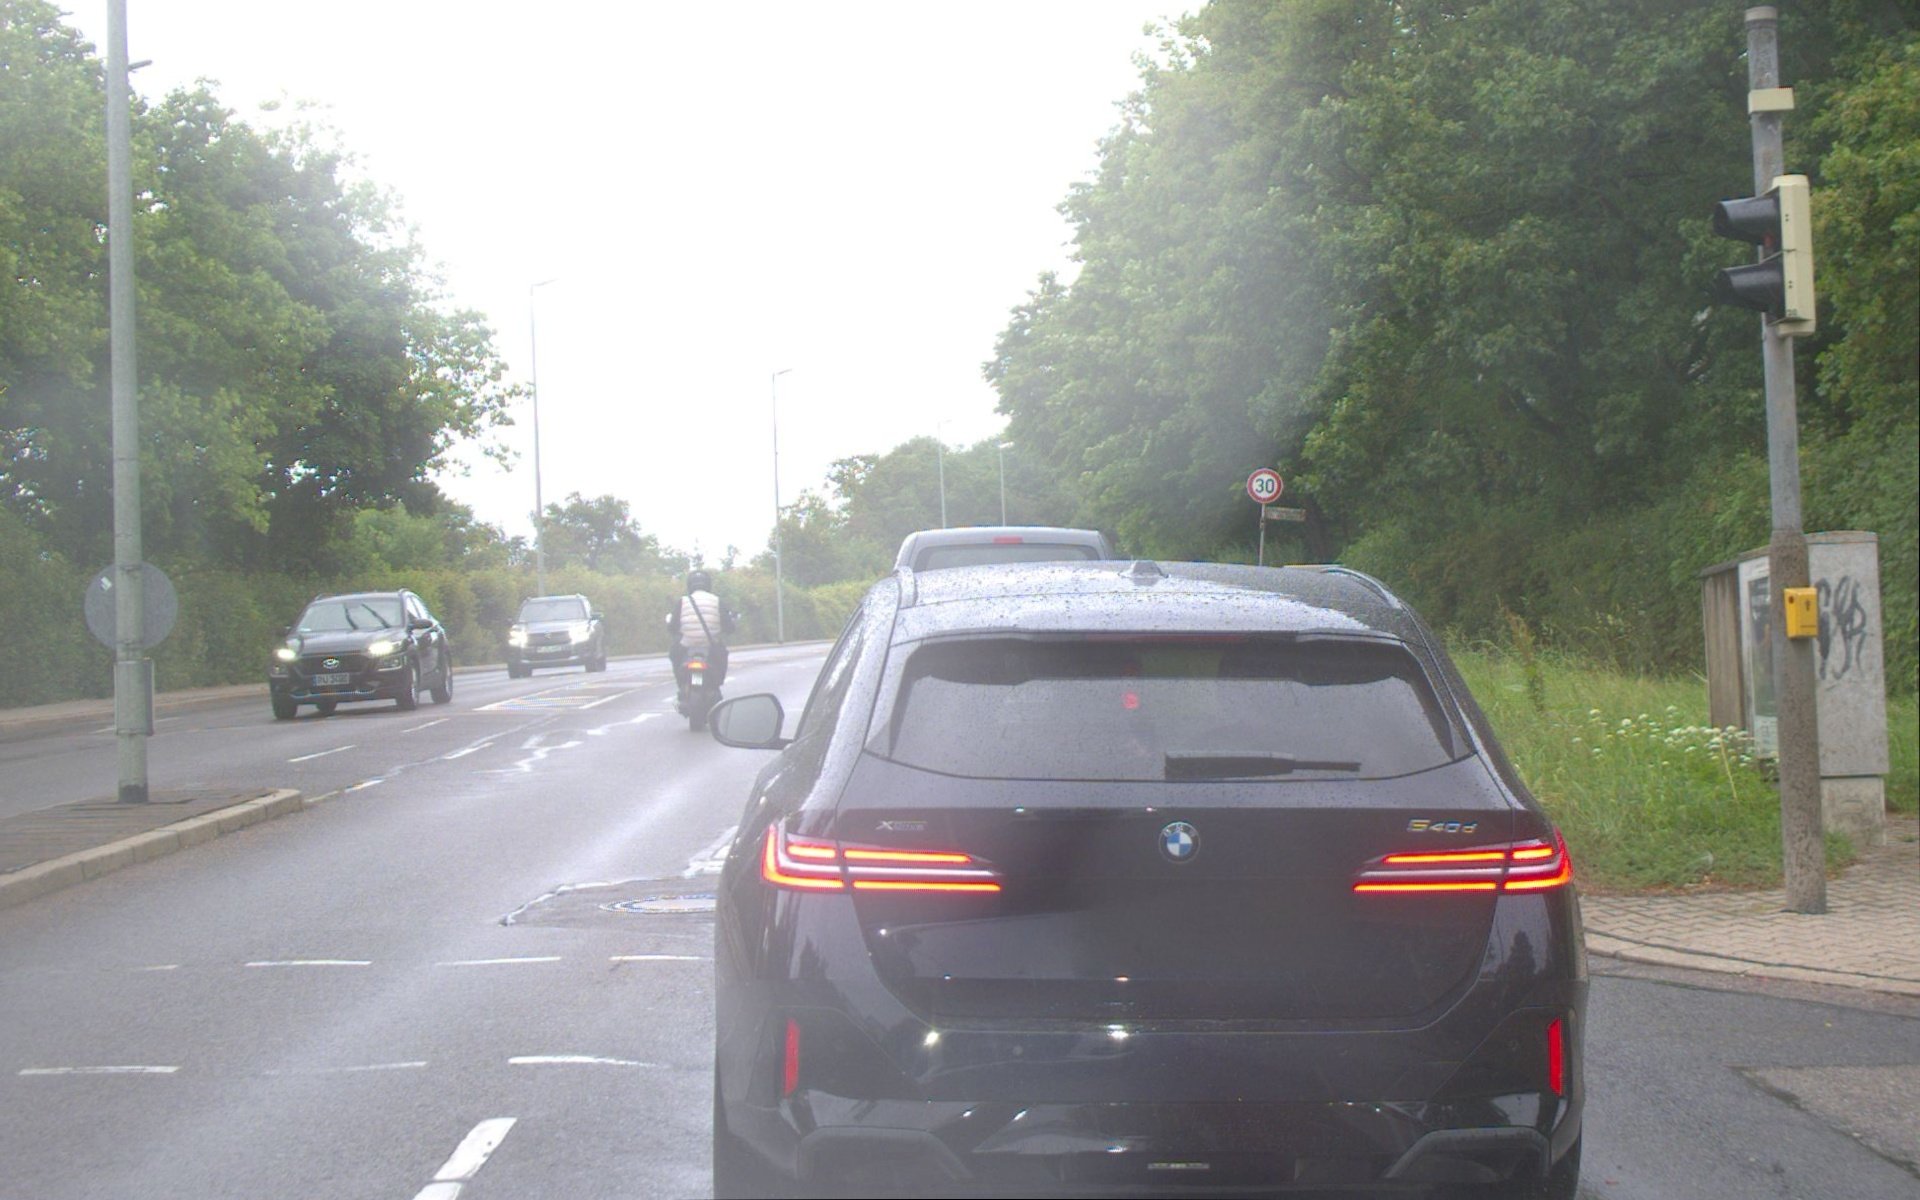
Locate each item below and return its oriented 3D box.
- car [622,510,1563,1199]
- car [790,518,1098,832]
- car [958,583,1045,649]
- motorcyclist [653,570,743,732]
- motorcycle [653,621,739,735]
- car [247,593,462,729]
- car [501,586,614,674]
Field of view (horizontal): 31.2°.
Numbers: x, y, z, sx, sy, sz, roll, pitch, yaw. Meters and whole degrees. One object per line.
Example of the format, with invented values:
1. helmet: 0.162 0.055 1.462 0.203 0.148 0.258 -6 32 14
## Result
1. car: 0.278 0.598 8.371 1.764 1.531 3.673 -1 0 1
2. car: -0.066 0.393 22.089 1.767 1.804 3.905 -1 1 1
3. car: 1.002 0.370 82.797 2.015 1.410 4.486 -1 1 1
4. motorcyclist: -2.719 0.528 35.656 0.845 1.641 0.468 -2 1 1
5. motorcycle: -2.736 0.800 35.721 0.741 1.116 1.426 -1 1 1
6. car: -7.793 0.753 44.574 2.025 1.558 3.877 -3 0 0
7. car: -8.000 0.577 68.626 1.795 1.597 3.732 -3 0 -1
